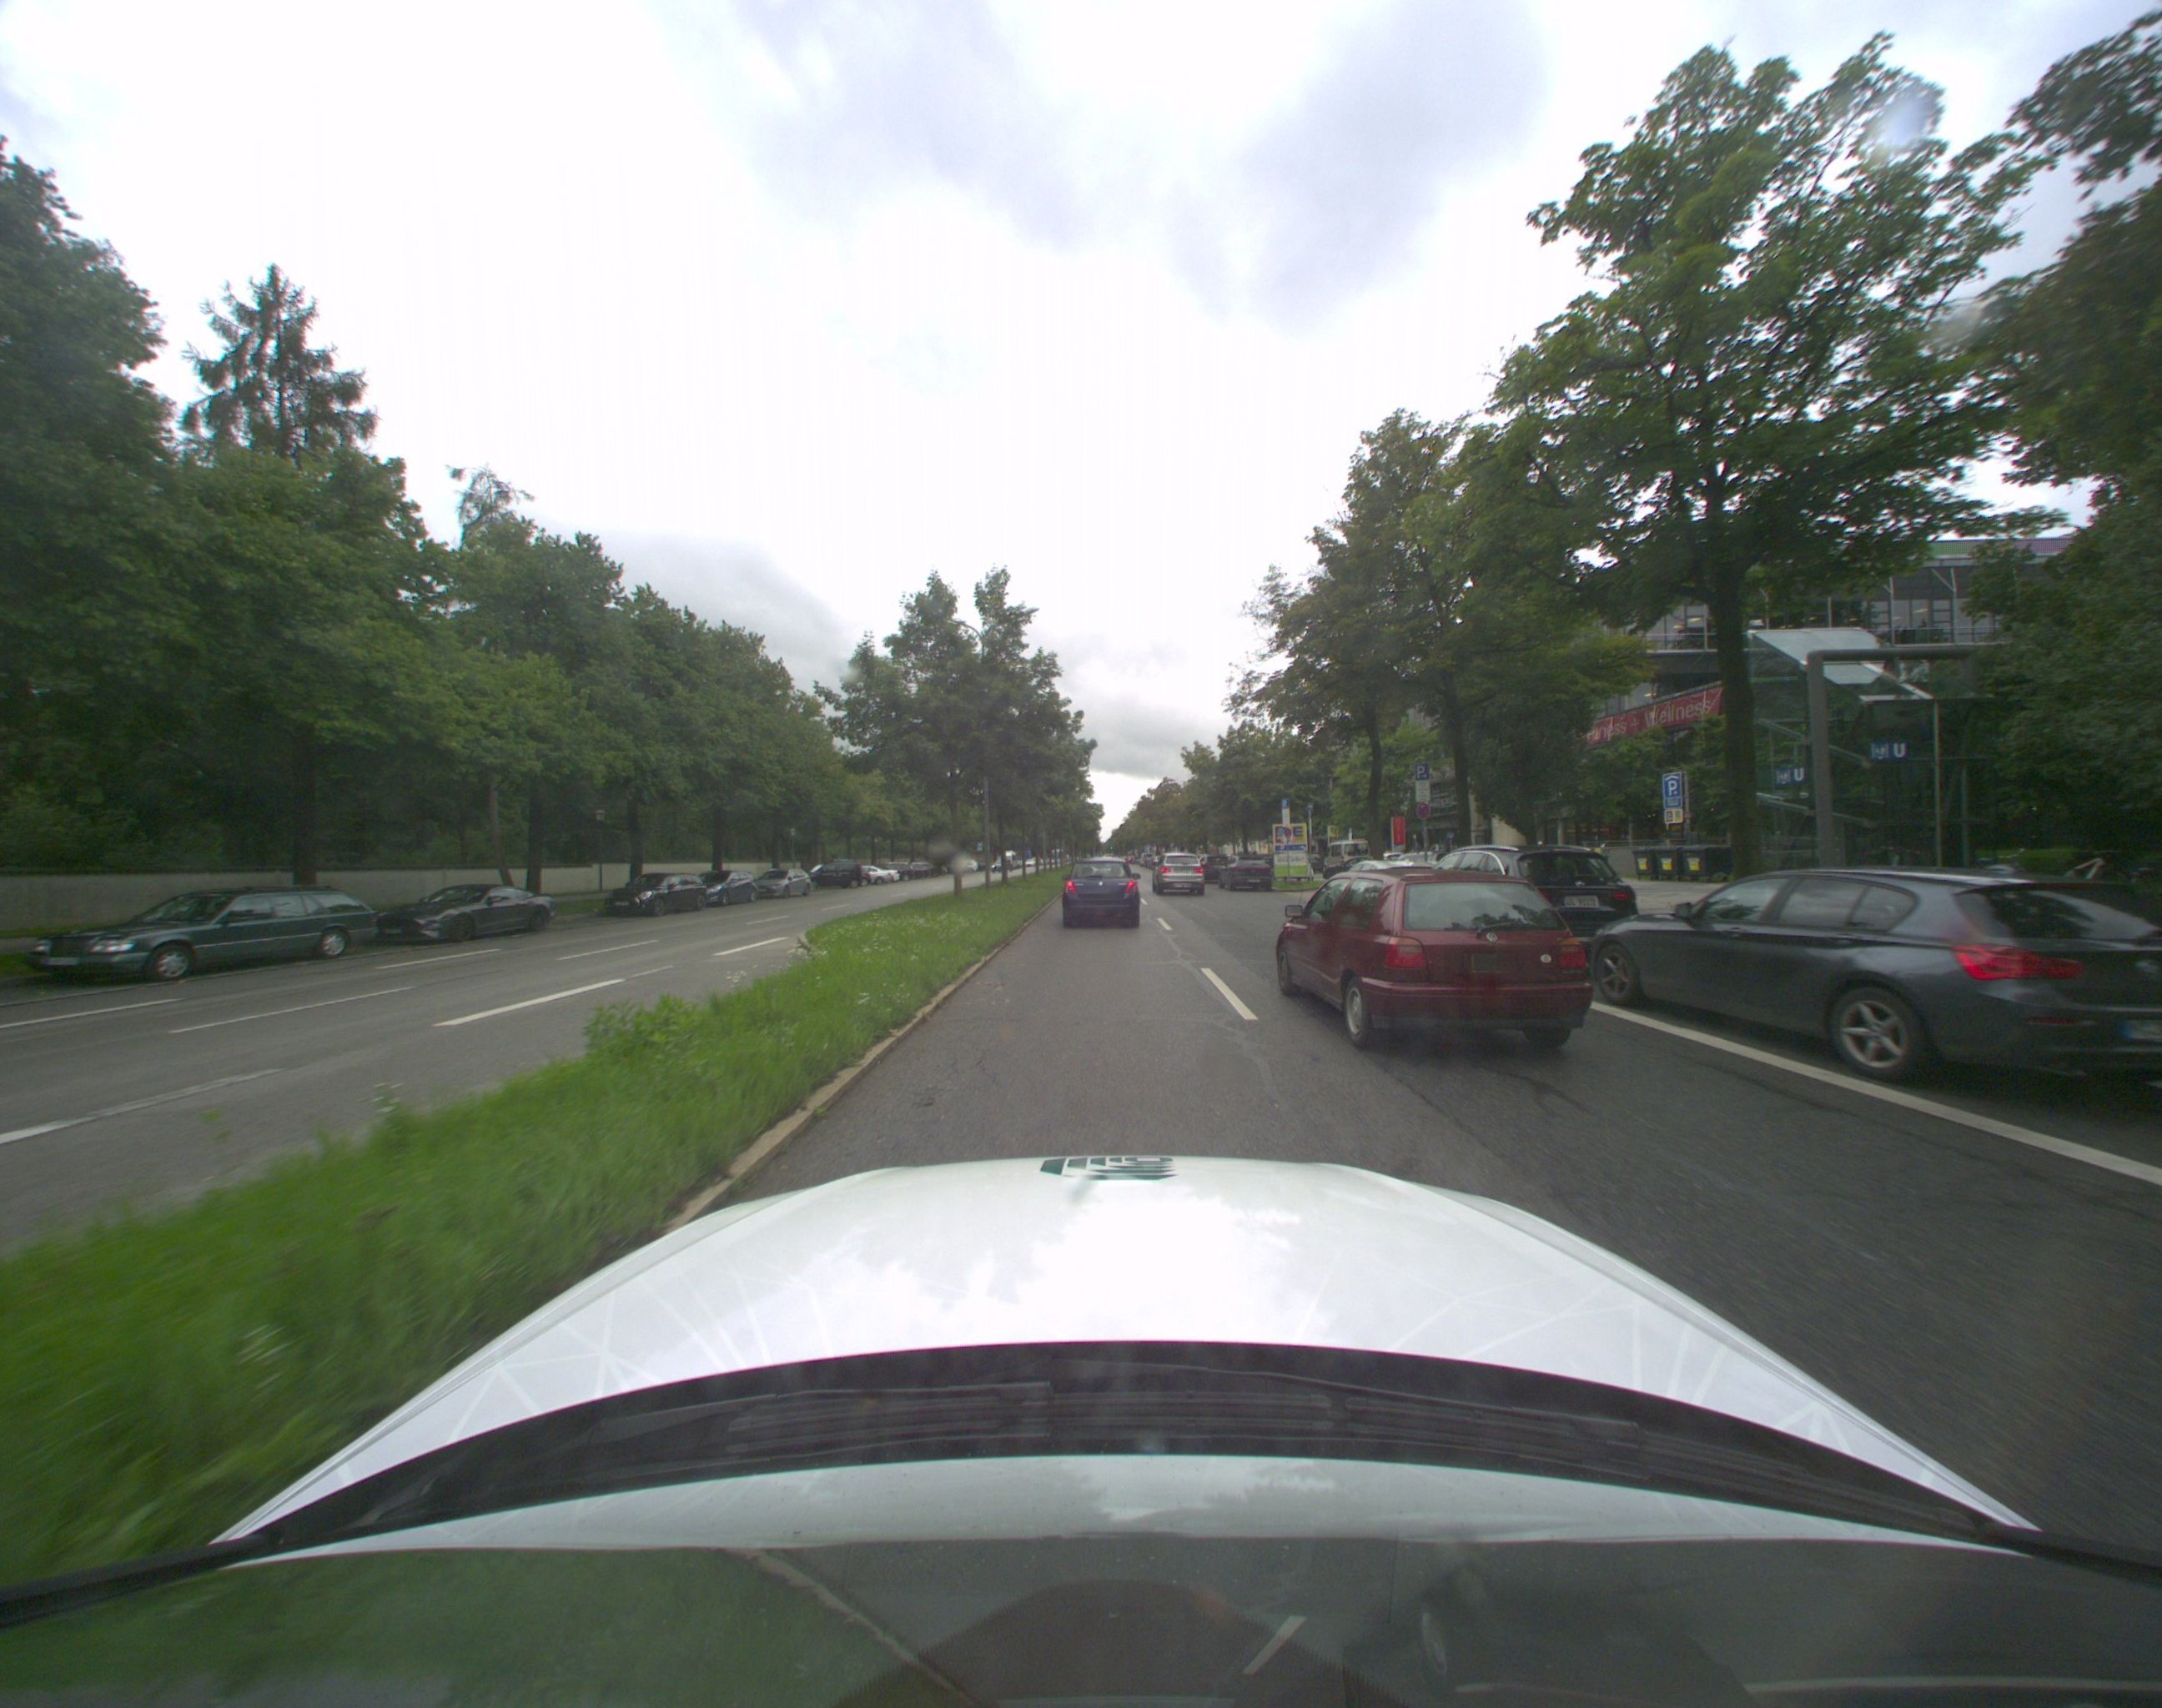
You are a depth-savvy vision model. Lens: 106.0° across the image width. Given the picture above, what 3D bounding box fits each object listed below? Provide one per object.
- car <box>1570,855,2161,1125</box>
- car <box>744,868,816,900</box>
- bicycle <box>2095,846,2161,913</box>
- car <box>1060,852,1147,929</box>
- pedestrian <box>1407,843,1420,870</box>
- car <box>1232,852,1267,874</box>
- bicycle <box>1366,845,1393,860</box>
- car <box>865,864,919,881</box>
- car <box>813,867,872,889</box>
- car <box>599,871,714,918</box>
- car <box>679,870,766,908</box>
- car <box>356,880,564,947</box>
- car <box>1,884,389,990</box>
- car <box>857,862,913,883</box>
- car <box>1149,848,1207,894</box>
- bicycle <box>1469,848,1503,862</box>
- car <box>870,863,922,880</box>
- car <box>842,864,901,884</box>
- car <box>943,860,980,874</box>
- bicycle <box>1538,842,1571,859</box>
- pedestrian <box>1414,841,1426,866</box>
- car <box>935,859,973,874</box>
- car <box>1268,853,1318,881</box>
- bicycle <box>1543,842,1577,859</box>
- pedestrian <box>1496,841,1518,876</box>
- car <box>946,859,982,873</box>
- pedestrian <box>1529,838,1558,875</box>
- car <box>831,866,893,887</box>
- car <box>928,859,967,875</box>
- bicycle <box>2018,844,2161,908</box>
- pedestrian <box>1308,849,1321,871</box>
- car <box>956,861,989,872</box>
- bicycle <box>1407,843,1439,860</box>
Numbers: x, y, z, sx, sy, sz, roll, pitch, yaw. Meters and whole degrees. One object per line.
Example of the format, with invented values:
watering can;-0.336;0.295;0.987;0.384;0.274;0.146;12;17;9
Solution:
car;6.055;0.747;6.600;1.627;1.439;4.305;-1;0;1
car;-15.138;1.479;41.242;1.629;1.439;4.812;0;0;3
bicycle;18.760;0.399;13.697;2.533;1.089;0.647;-1;0;1
car;0.470;0.769;18.993;1.783;1.555;3.999;-1;0;0
pedestrian;21.503;0.164;52.633;0.572;1.751;0.733;-1;-1;6
car;12.176;0.632;59.138;1.742;1.479;4.009;-1;0;0
bicycle;31.810;-0.154;86.782;2.605;1.508;0.797;-2;0;-5
car;-16.502;1.618;71.138;4.217;1.322;1.900;-1;0;-32
car;-16.334;1.624;55.810;3.590;1.354;1.737;-1;0;-29
car;-15.267;1.410;29.554;1.563;1.503;4.310;0;0;6
car;-15.306;1.453;35.051;1.581;1.459;4.799;0;0;1
car;-15.709;1.442;21.000;1.653;1.396;4.708;0;0;2
car;-16.006;1.387;15.251;1.792;1.490;4.917;0;0;2
car;-16.351;1.539;67.968;4.127;1.597;1.897;-1;0;-38
car;3.889;0.659;33.136;1.844;1.743;4.097;-1;0;0
bicycle;29.310;0.059;58.952;0.751;0.958;2.022;-1;-1;-44
car;-16.826;1.595;74.031;4.213;1.410;1.900;-1;0;-32
car;-16.062;1.510;62.582;4.059;1.381;1.657;-1;0;-34
car;-15.137;1.605;103.194;4.122;1.585;1.900;-1;0;-32
bicycle;35.467;-0.288;60.959;2.131;1.204;0.586;-1;0;-1
pedestrian;24.134;-0.061;57.953;0.572;1.751;0.733;-1;-1;6
car;-15.499;1.544;99.302;4.122;1.695;1.900;-1;0;-32
car;12.023;0.719;46.348;1.758;1.488;3.998;0;0;-1
bicycle;35.473;-0.289;60.347;2.131;1.204;0.586;-1;0;-1
pedestrian;21.451;0.243;41.014;0.536;1.721;0.988;-3;-1;2
car;-15.255;1.588;106.229;4.122;1.652;1.900;-1;0;-32
pedestrian;22.573;0.122;39.757;0.825;1.721;0.940;-3;-1;1
car;-15.975;1.600;59.419;4.015;1.354;1.831;-1;0;-33
car;-15.810;1.551;96.216;4.122;1.695;1.900;-1;0;-32
bicycle;18.822;0.398;14.916;2.533;1.089;0.647;-1;0;1
pedestrian;19.784;0.508;69.008;0.872;1.851;0.903;0;0;0
car;-14.945;1.748;112.299;4.122;1.474;1.687;0;-1;-32
bicycle;31.052;-0.230;73.967;2.612;1.508;0.795;-2;0;-13
